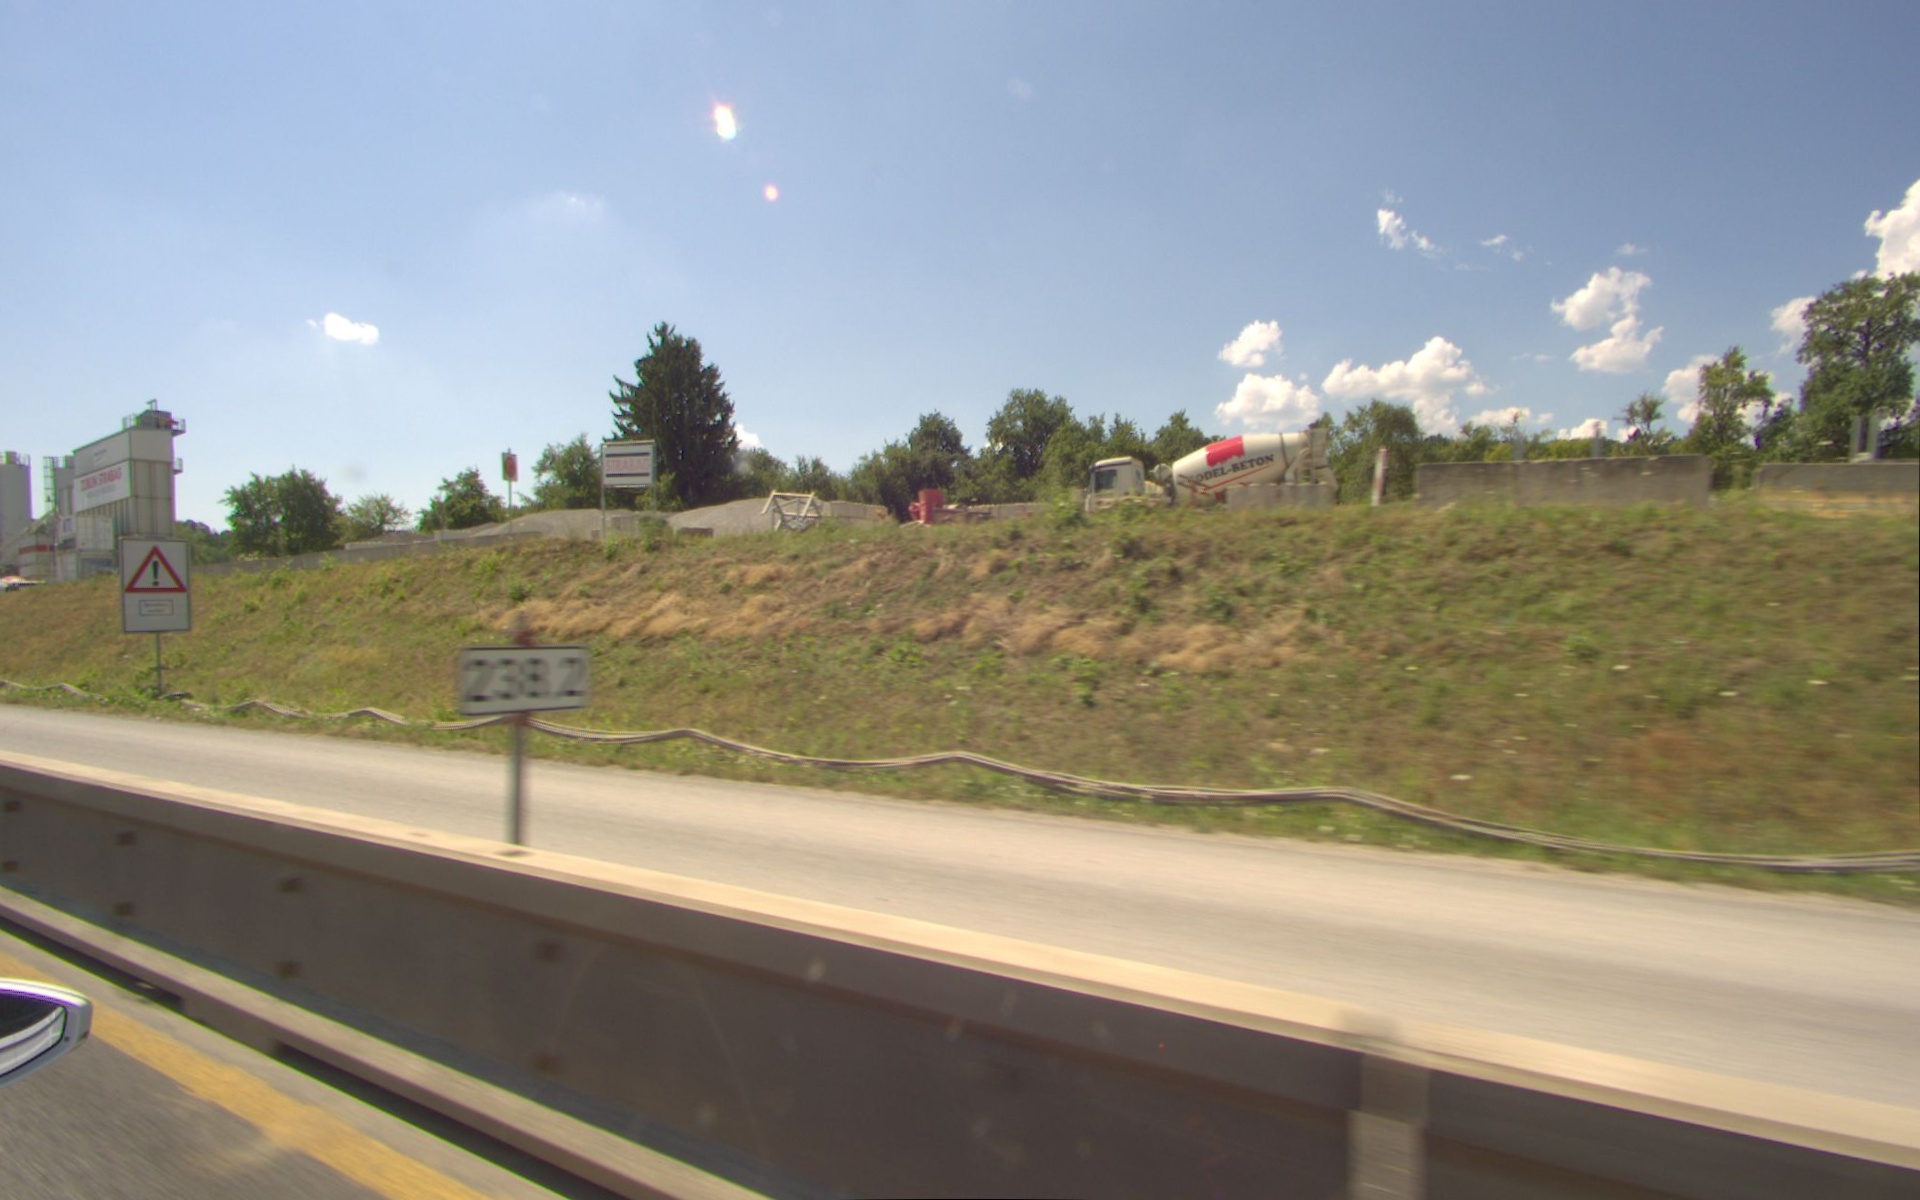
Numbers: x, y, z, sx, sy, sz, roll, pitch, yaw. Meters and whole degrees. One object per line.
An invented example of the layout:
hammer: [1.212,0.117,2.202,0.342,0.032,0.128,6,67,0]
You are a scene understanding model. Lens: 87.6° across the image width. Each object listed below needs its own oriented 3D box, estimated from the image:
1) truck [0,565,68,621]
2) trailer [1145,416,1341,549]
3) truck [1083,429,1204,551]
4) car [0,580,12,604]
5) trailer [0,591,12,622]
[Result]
truck: [-76.101,-0.495,82.111,9.816,4.353,3.418,-1,0,42]
trailer: [10.410,-4.155,36.864,6.633,4.168,2.757,-1,0,24]
truck: [7.051,-4.095,38.340,4.032,4.150,2.746,-1,0,23]
car: [-83.733,-0.680,86.276,4.364,2.040,1.989,-1,0,32]
trailer: [-104.767,0.681,103.754,3.271,3.271,9.012,0,-1,18]
